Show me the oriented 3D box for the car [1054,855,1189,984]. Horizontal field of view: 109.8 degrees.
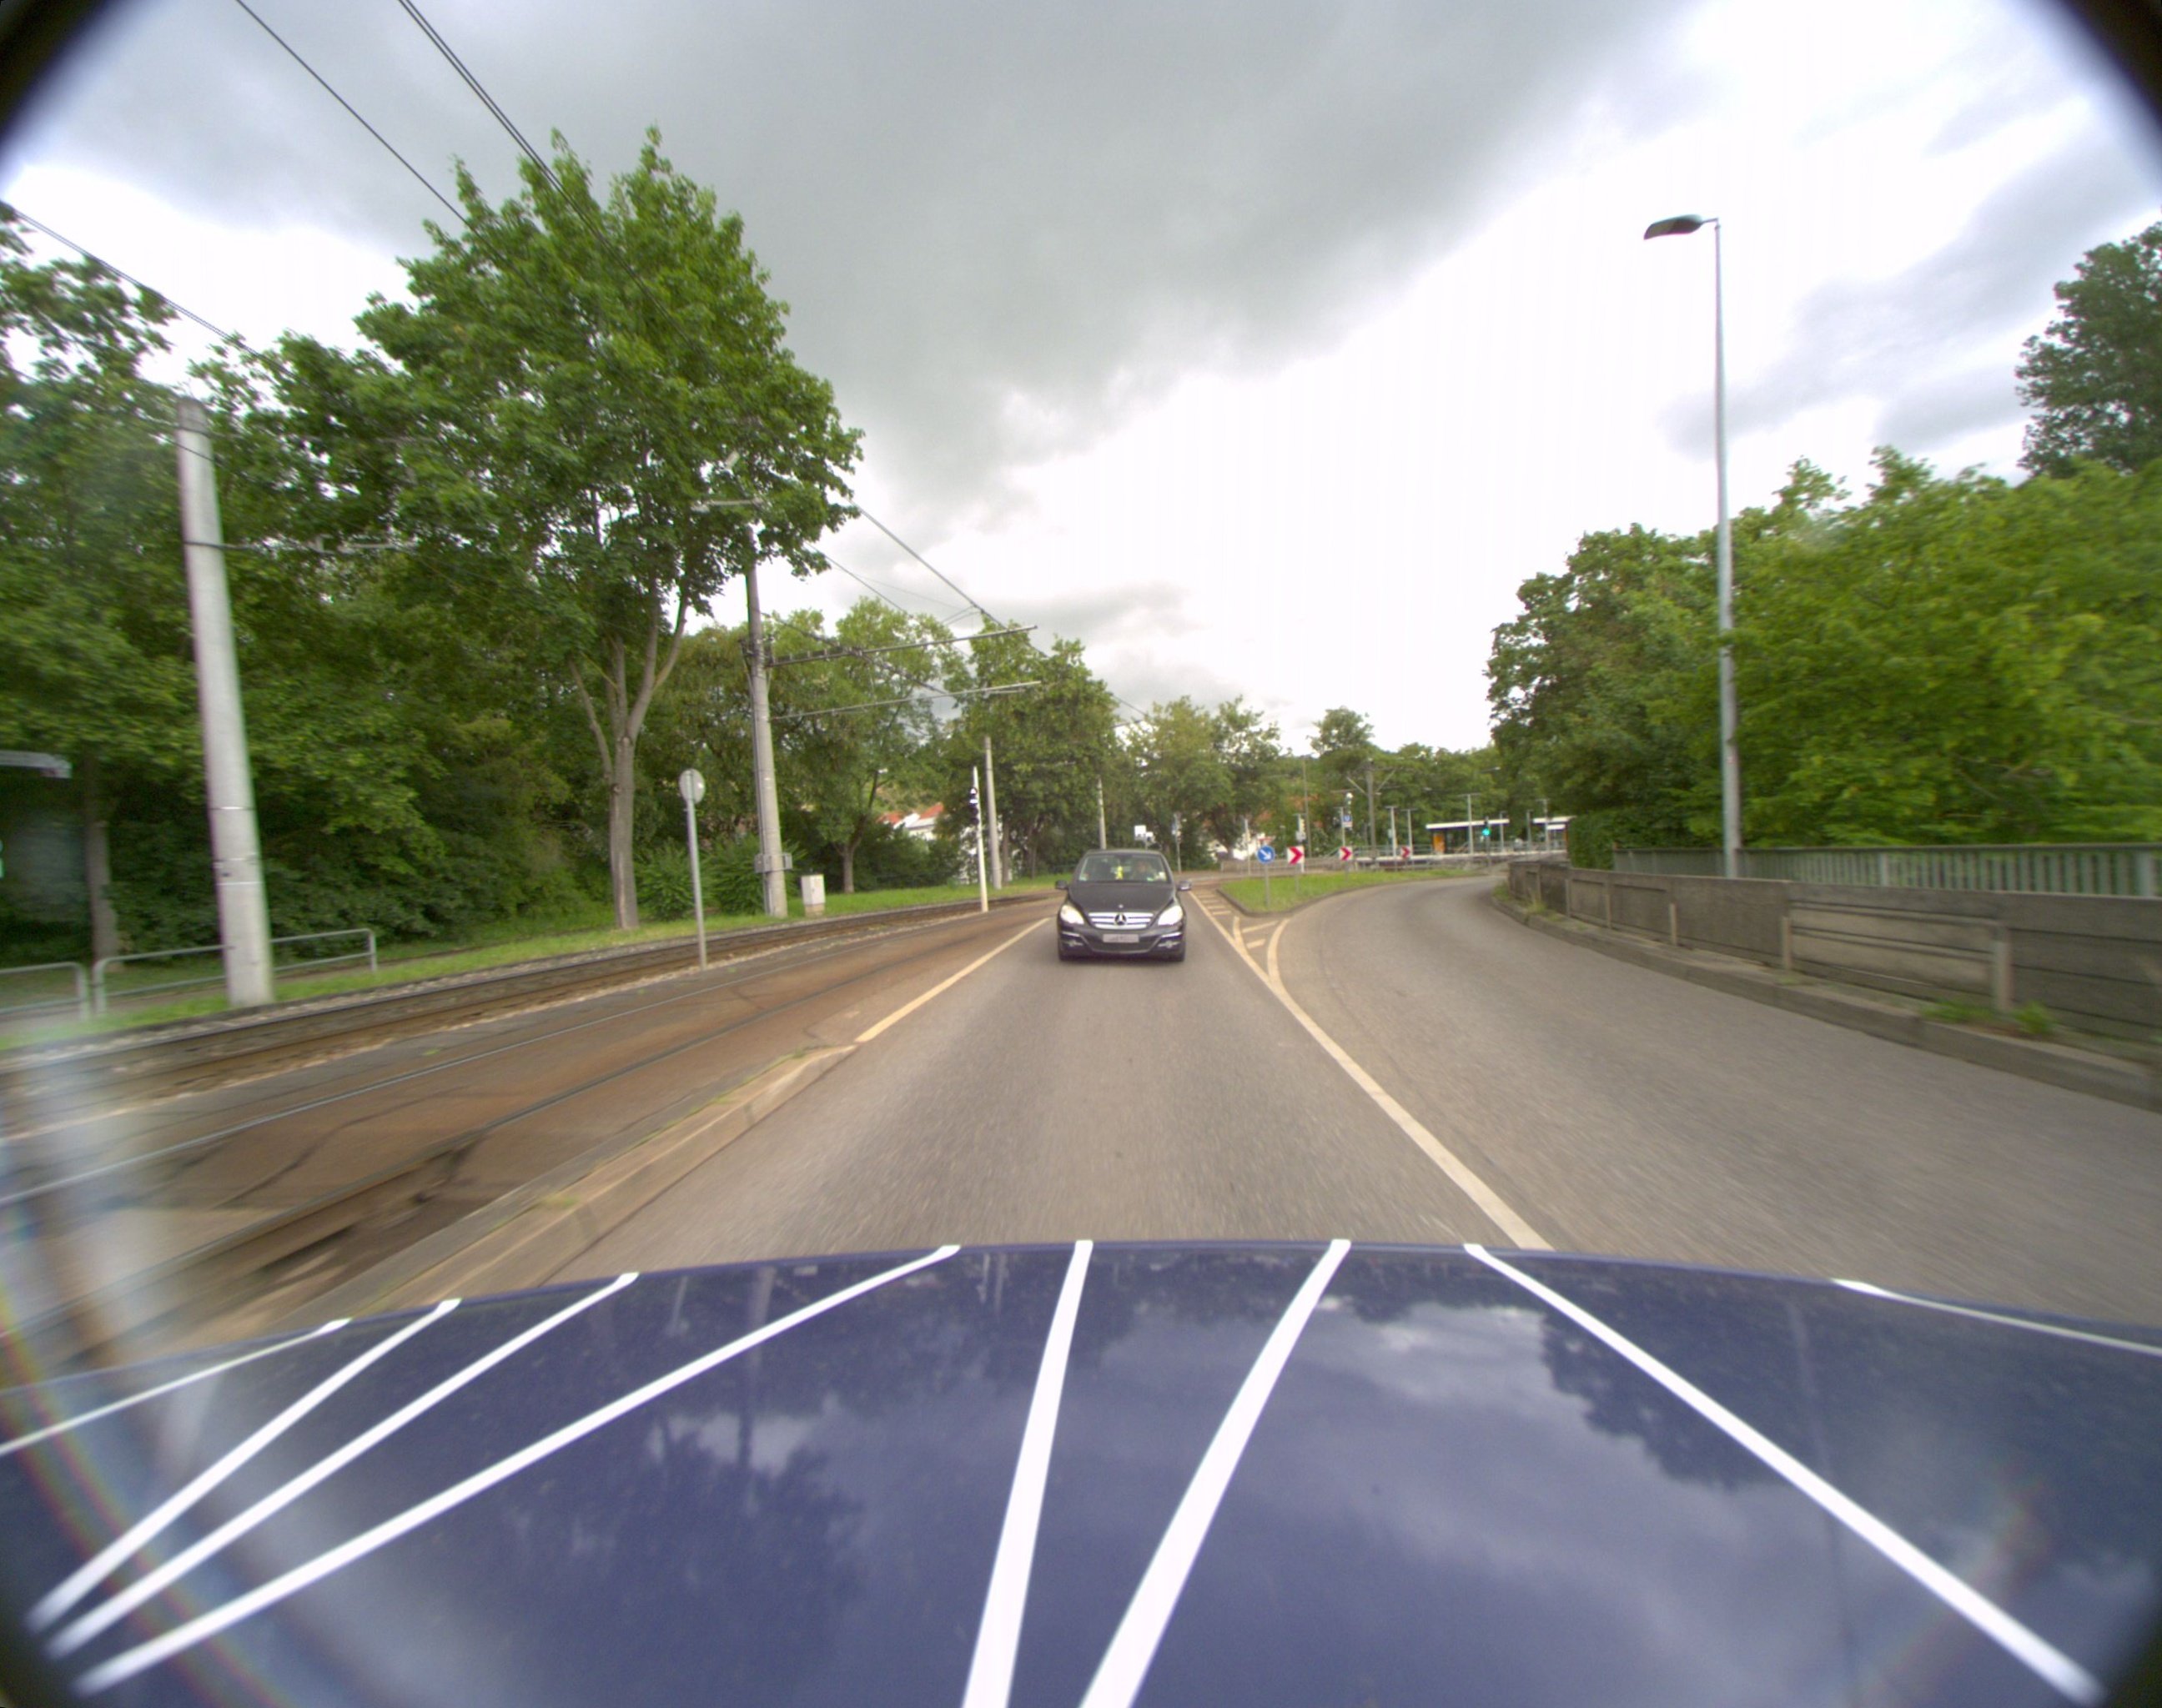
[{"bbox_3d":[0.728,0.832,11.964,1.711,1.574,4.444,1,1,6],"label":"car"}]
